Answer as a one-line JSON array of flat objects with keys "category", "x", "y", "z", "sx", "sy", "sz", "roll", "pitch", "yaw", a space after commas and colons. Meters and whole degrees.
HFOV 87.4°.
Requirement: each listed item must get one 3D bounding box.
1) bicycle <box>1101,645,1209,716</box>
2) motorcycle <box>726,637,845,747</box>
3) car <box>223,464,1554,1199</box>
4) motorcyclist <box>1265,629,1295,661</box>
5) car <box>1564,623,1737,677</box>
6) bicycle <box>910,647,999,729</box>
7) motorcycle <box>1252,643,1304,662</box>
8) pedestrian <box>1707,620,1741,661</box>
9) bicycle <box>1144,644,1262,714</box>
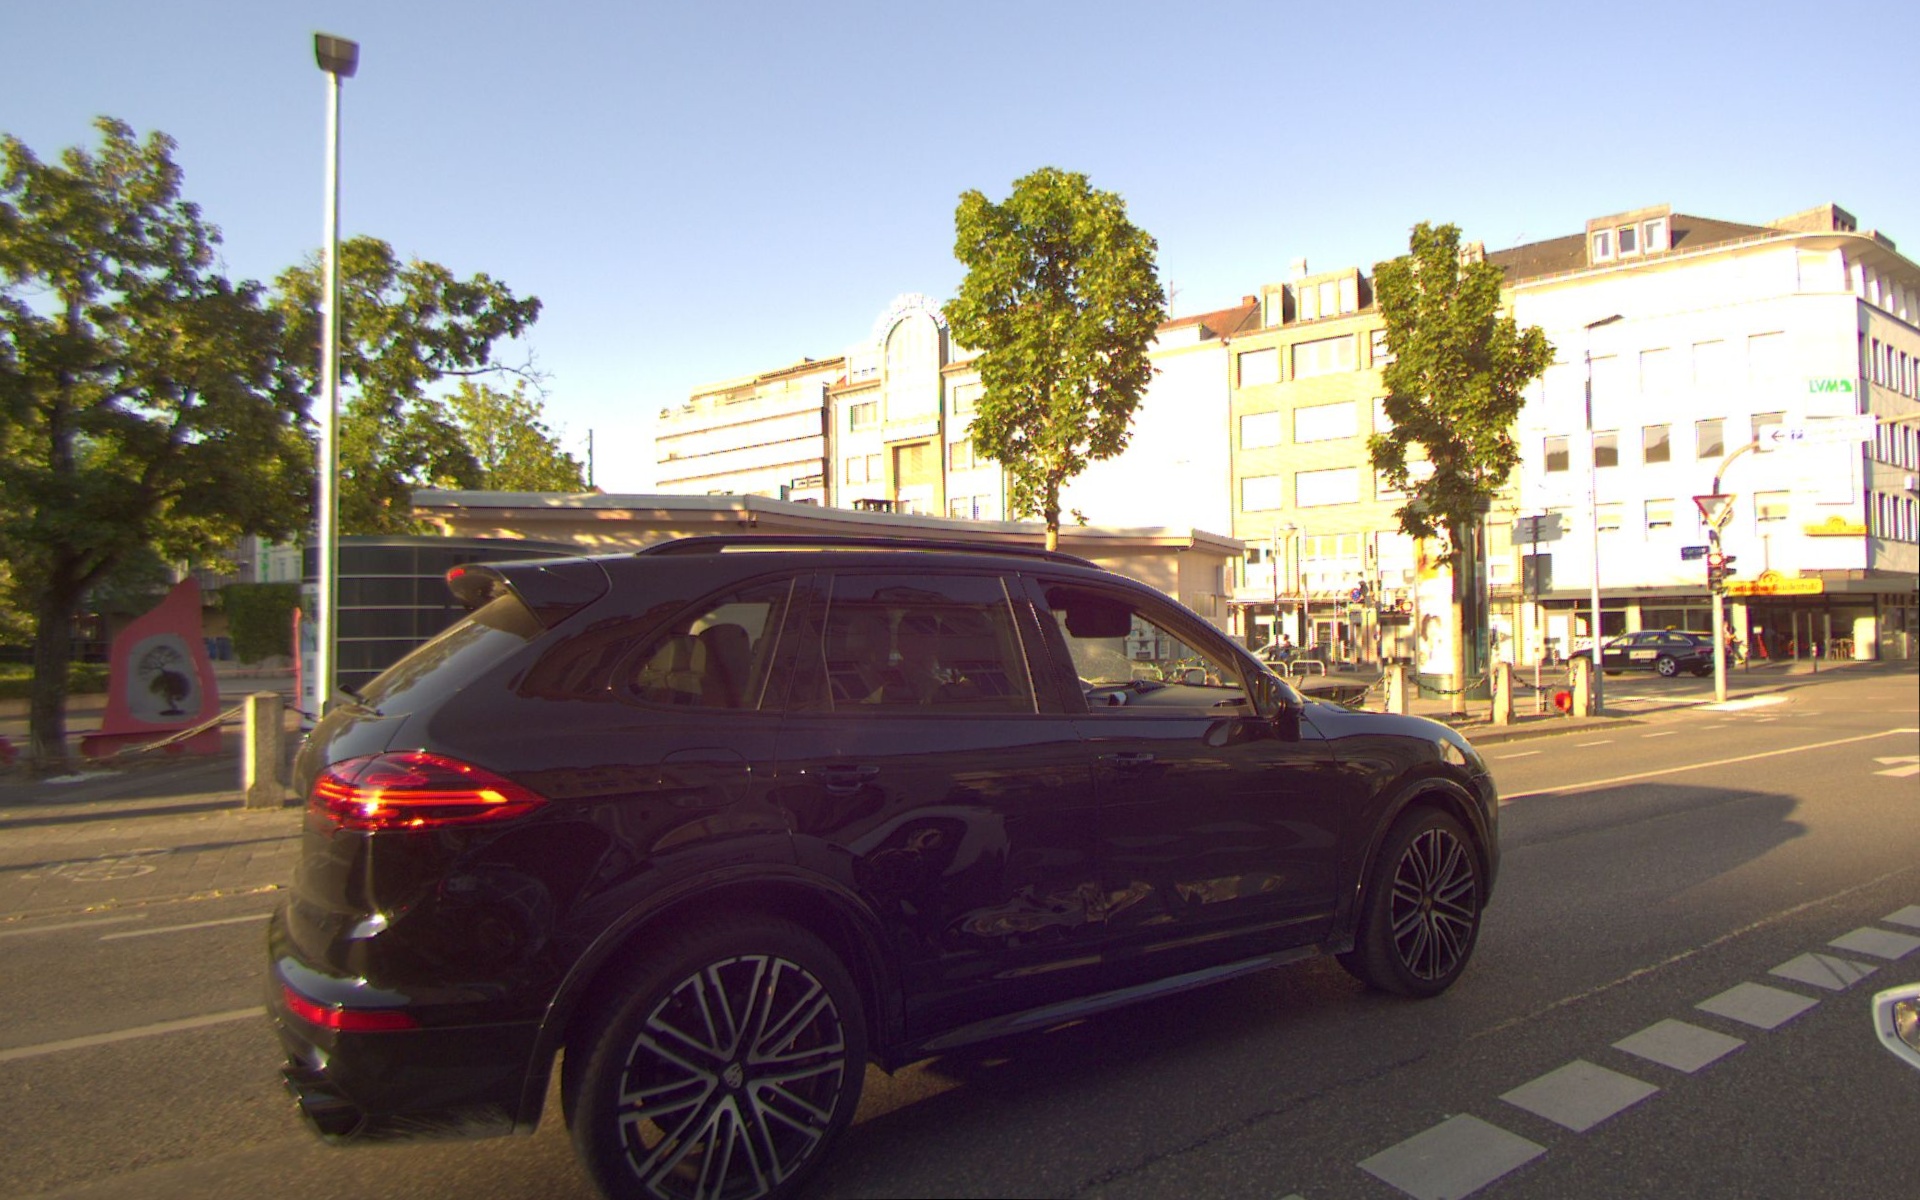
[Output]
[{"category": "bicycle", "x": 3.702, "y": 1.508, "z": 19.271, "sx": 0.939, "sy": 1.273, "sz": 1.996, "roll": 0, "pitch": -3, "yaw": -31}, {"category": "motorcycle", "x": -2.600, "y": 1.285, "z": 14.685, "sx": 0.858, "sy": 1.448, "sz": 2.569, "roll": 0, "pitch": -3, "yaw": -31}, {"category": "car", "x": 0.068, "y": 0.675, "z": 3.855, "sx": 4.511, "sy": 1.736, "sz": 1.938, "roll": 0, "pitch": -3, "yaw": -32}, {"category": "motorcyclist", "x": 13.478, "y": 1.902, "z": 42.287, "sx": 0.980, "sy": 1.337, "sz": 0.764, "roll": -2, "pitch": -2, "yaw": 41}, {"category": "car", "x": 22.635, "y": 1.610, "z": 33.149, "sx": 1.851, "sy": 1.616, "sz": 4.428, "roll": 0, "pitch": -2, "yaw": -21}, {"category": "bicycle", "x": -0.117, "y": 1.429, "z": 16.709, "sx": 0.625, "sy": 1.273, "sz": 1.845, "roll": 0, "pitch": -3, "yaw": -31}, {"category": "motorcycle", "x": 13.388, "y": 2.213, "z": 42.343, "sx": 2.003, "sy": 0.791, "sz": 0.660, "roll": -2, "pitch": -2, "yaw": 41}, {"category": "pedestrian", "x": 29.874, "y": 1.593, "z": 39.289, "sx": 0.933, "sy": 1.557, "sz": 0.906, "roll": -2, "pitch": -2, "yaw": 34}, {"category": "bicycle", "x": 4.741, "y": 1.525, "z": 19.841, "sx": 0.778, "sy": 1.273, "sz": 2.432, "roll": 0, "pitch": -3, "yaw": -31}]
